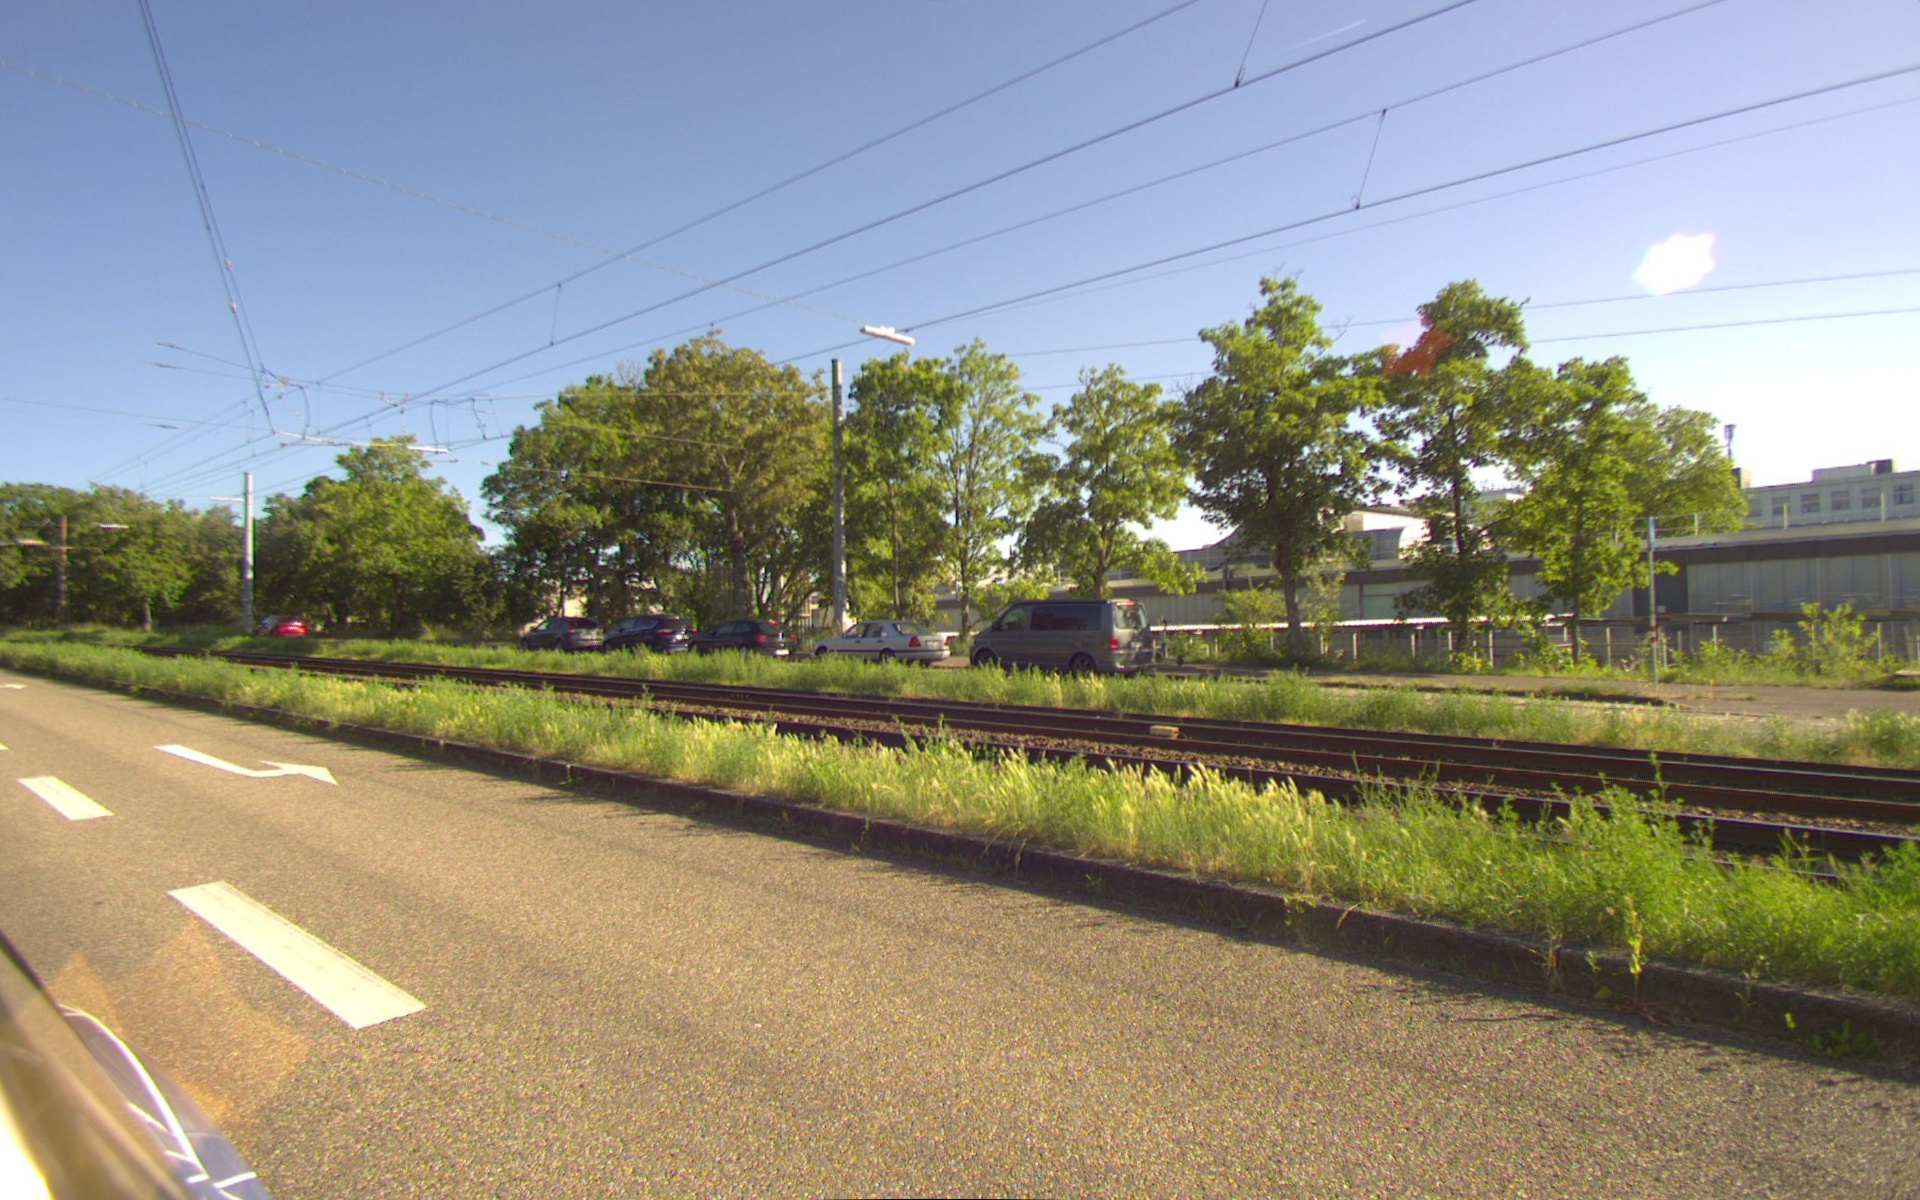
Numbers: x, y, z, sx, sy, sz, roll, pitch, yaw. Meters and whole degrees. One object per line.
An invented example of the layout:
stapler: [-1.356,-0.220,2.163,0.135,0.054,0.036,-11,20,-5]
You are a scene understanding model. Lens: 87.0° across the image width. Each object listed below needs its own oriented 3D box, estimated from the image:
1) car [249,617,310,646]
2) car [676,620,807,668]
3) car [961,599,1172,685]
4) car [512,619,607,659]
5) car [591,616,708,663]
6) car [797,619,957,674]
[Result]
car: [-42.199,1.914,62.762,4.462,1.715,1.984,-1,-1,40]
car: [-7.237,1.426,33.304,4.412,1.448,1.973,-2,-1,41]
car: [2.522,0.986,24.789,4.791,1.905,2.173,-2,-1,43]
car: [-16.345,1.550,41.213,4.323,1.505,1.718,-1,0,39]
car: [-11.324,1.430,36.768,4.430,1.586,1.974,-2,-1,39]
car: [-2.461,1.310,29.199,4.692,1.448,1.908,-2,-2,41]
